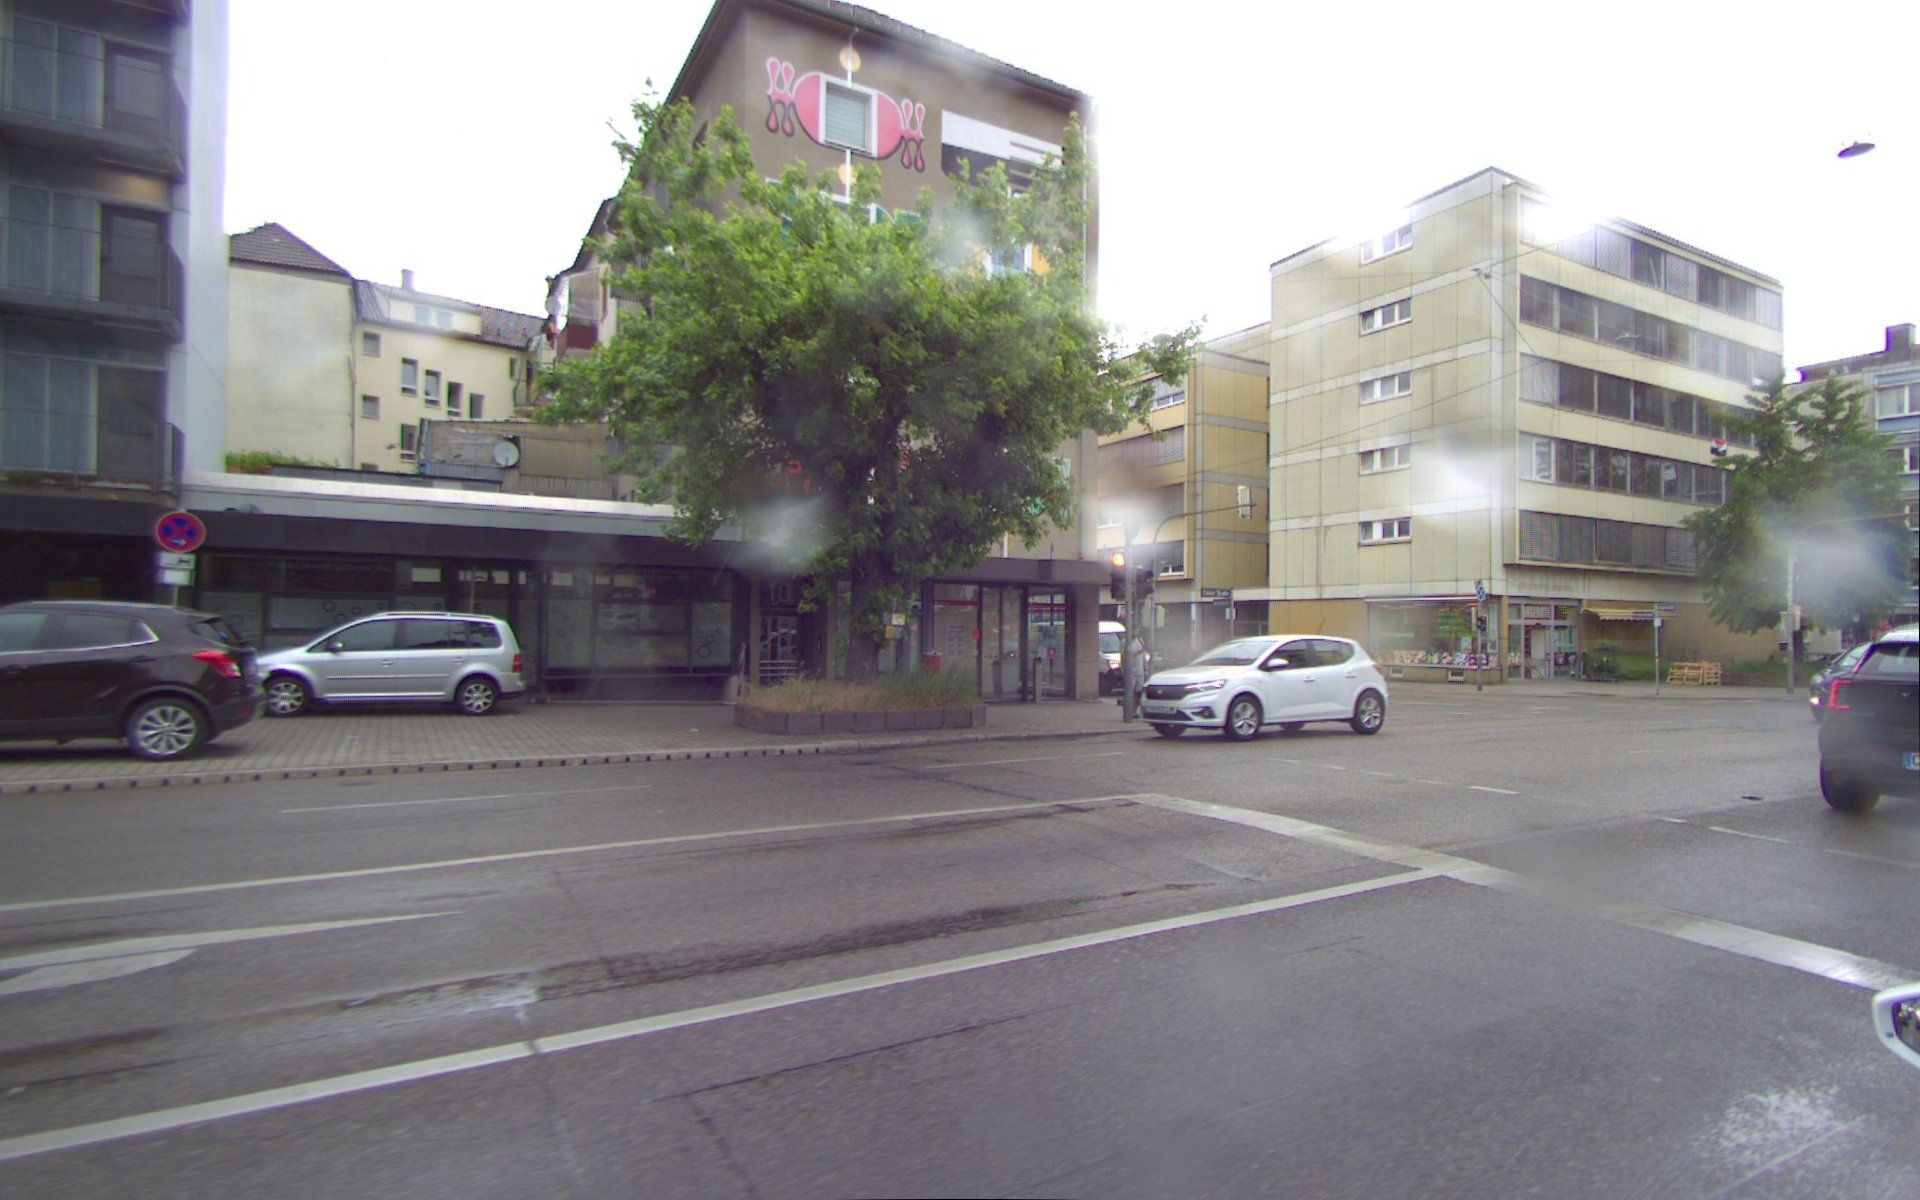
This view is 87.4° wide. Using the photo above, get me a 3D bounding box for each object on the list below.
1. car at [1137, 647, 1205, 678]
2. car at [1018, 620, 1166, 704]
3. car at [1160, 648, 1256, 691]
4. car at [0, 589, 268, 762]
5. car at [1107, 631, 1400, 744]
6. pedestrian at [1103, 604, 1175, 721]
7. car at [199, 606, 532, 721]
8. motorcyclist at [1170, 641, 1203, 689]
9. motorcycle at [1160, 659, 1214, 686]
[{"bbox_3d":[12.073,3.579,57.361,3.660,1.598,1.742,0,-3,-35],"label":"car"},{"bbox_3d":[4.600,2.247,36.022,2.161,2.747,5.732,2,-4,-31],"label":"car"},{"bbox_3d":[11.803,3.328,48.077,2.008,1.944,4.420,1,-4,-28],"label":"car"},{"bbox_3d":[-10.013,0.757,10.660,4.237,1.728,1.532,2,-1,-31],"label":"car"},{"bbox_3d":[4.476,1.282,15.326,4.036,1.513,1.987,1,-5,-28],"label":"car"},{"bbox_3d":[3.229,1.123,18.149,0.879,2.040,0.933,2,-3,-39],"label":"pedestrian"},{"bbox_3d":[-9.633,1.002,16.610,4.460,1.676,1.983,2,-2,-32],"label":"car"},{"bbox_3d":[8.080,2.330,35.831,0.908,1.684,0.704,-2,-5,43],"label":"motorcyclist"},{"bbox_3d":[8.085,2.580,35.811,1.833,0.947,0.614,-3,-4,45],"label":"motorcycle"}]
